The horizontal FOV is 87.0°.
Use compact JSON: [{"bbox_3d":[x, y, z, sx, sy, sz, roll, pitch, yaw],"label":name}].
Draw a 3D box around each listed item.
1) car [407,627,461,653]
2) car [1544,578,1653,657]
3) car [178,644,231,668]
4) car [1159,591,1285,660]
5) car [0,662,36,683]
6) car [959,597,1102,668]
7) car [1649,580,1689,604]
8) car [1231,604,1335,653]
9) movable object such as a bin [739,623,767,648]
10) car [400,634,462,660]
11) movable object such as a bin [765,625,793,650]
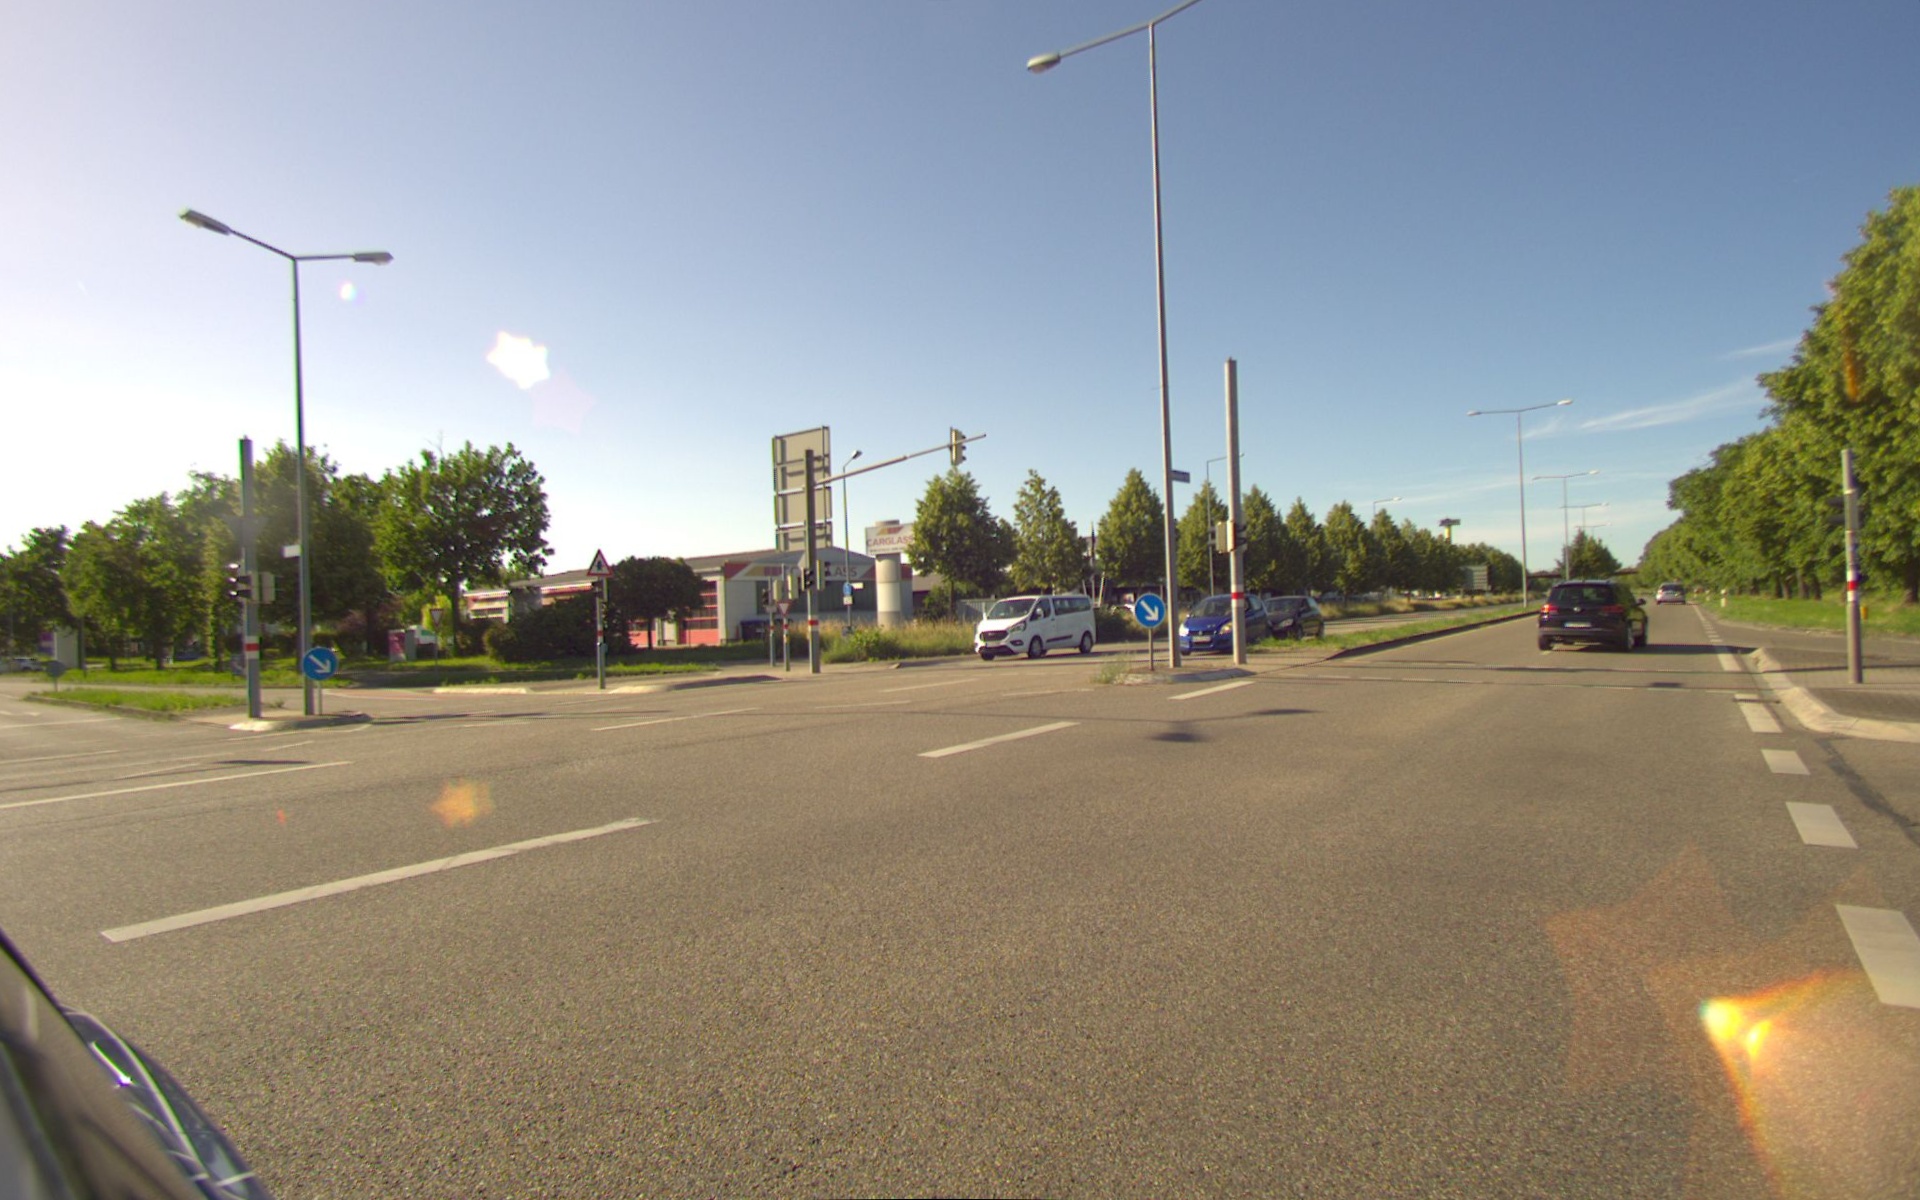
[{"bbox_3d":[-50.369,3.822,97.007,1.776,2.233,4.159,-4,-2,39],"label":"car"},{"bbox_3d":[15.330,0.370,24.220,1.830,1.639,3.951,-3,0,37],"label":"car"},{"bbox_3d":[-74.042,5.486,99.210,3.937,2.028,2.003,-4,0,-40],"label":"car"},{"bbox_3d":[7.137,0.647,27.344,1.889,1.656,3.991,-5,-3,36],"label":"car"},{"bbox_3d":[-81.946,6.246,86.493,4.427,1.719,2.002,-1,-2,-43],"label":"car"},{"bbox_3d":[2.368,0.988,32.555,2.044,2.029,5.212,-5,-3,36],"label":"car"},{"bbox_3d":[52.283,-0.572,74.719,2.041,1.628,4.370,-5,-3,31],"label":"car"},{"bbox_3d":[10.140,0.864,31.611,1.889,1.284,3.991,-5,-3,36],"label":"car"},{"bbox_3d":[-11.258,1.938,54.994,0.992,1.308,1.116,-4,-2,42],"label":"movable object such as a bin"},{"bbox_3d":[-46.791,4.127,89.621,4.427,1.960,1.999,-4,0,-44],"label":"car"},{"bbox_3d":[-10.064,2.098,56.326,0.992,1.308,1.116,-4,-2,42],"label":"movable object such as a bin"}]
